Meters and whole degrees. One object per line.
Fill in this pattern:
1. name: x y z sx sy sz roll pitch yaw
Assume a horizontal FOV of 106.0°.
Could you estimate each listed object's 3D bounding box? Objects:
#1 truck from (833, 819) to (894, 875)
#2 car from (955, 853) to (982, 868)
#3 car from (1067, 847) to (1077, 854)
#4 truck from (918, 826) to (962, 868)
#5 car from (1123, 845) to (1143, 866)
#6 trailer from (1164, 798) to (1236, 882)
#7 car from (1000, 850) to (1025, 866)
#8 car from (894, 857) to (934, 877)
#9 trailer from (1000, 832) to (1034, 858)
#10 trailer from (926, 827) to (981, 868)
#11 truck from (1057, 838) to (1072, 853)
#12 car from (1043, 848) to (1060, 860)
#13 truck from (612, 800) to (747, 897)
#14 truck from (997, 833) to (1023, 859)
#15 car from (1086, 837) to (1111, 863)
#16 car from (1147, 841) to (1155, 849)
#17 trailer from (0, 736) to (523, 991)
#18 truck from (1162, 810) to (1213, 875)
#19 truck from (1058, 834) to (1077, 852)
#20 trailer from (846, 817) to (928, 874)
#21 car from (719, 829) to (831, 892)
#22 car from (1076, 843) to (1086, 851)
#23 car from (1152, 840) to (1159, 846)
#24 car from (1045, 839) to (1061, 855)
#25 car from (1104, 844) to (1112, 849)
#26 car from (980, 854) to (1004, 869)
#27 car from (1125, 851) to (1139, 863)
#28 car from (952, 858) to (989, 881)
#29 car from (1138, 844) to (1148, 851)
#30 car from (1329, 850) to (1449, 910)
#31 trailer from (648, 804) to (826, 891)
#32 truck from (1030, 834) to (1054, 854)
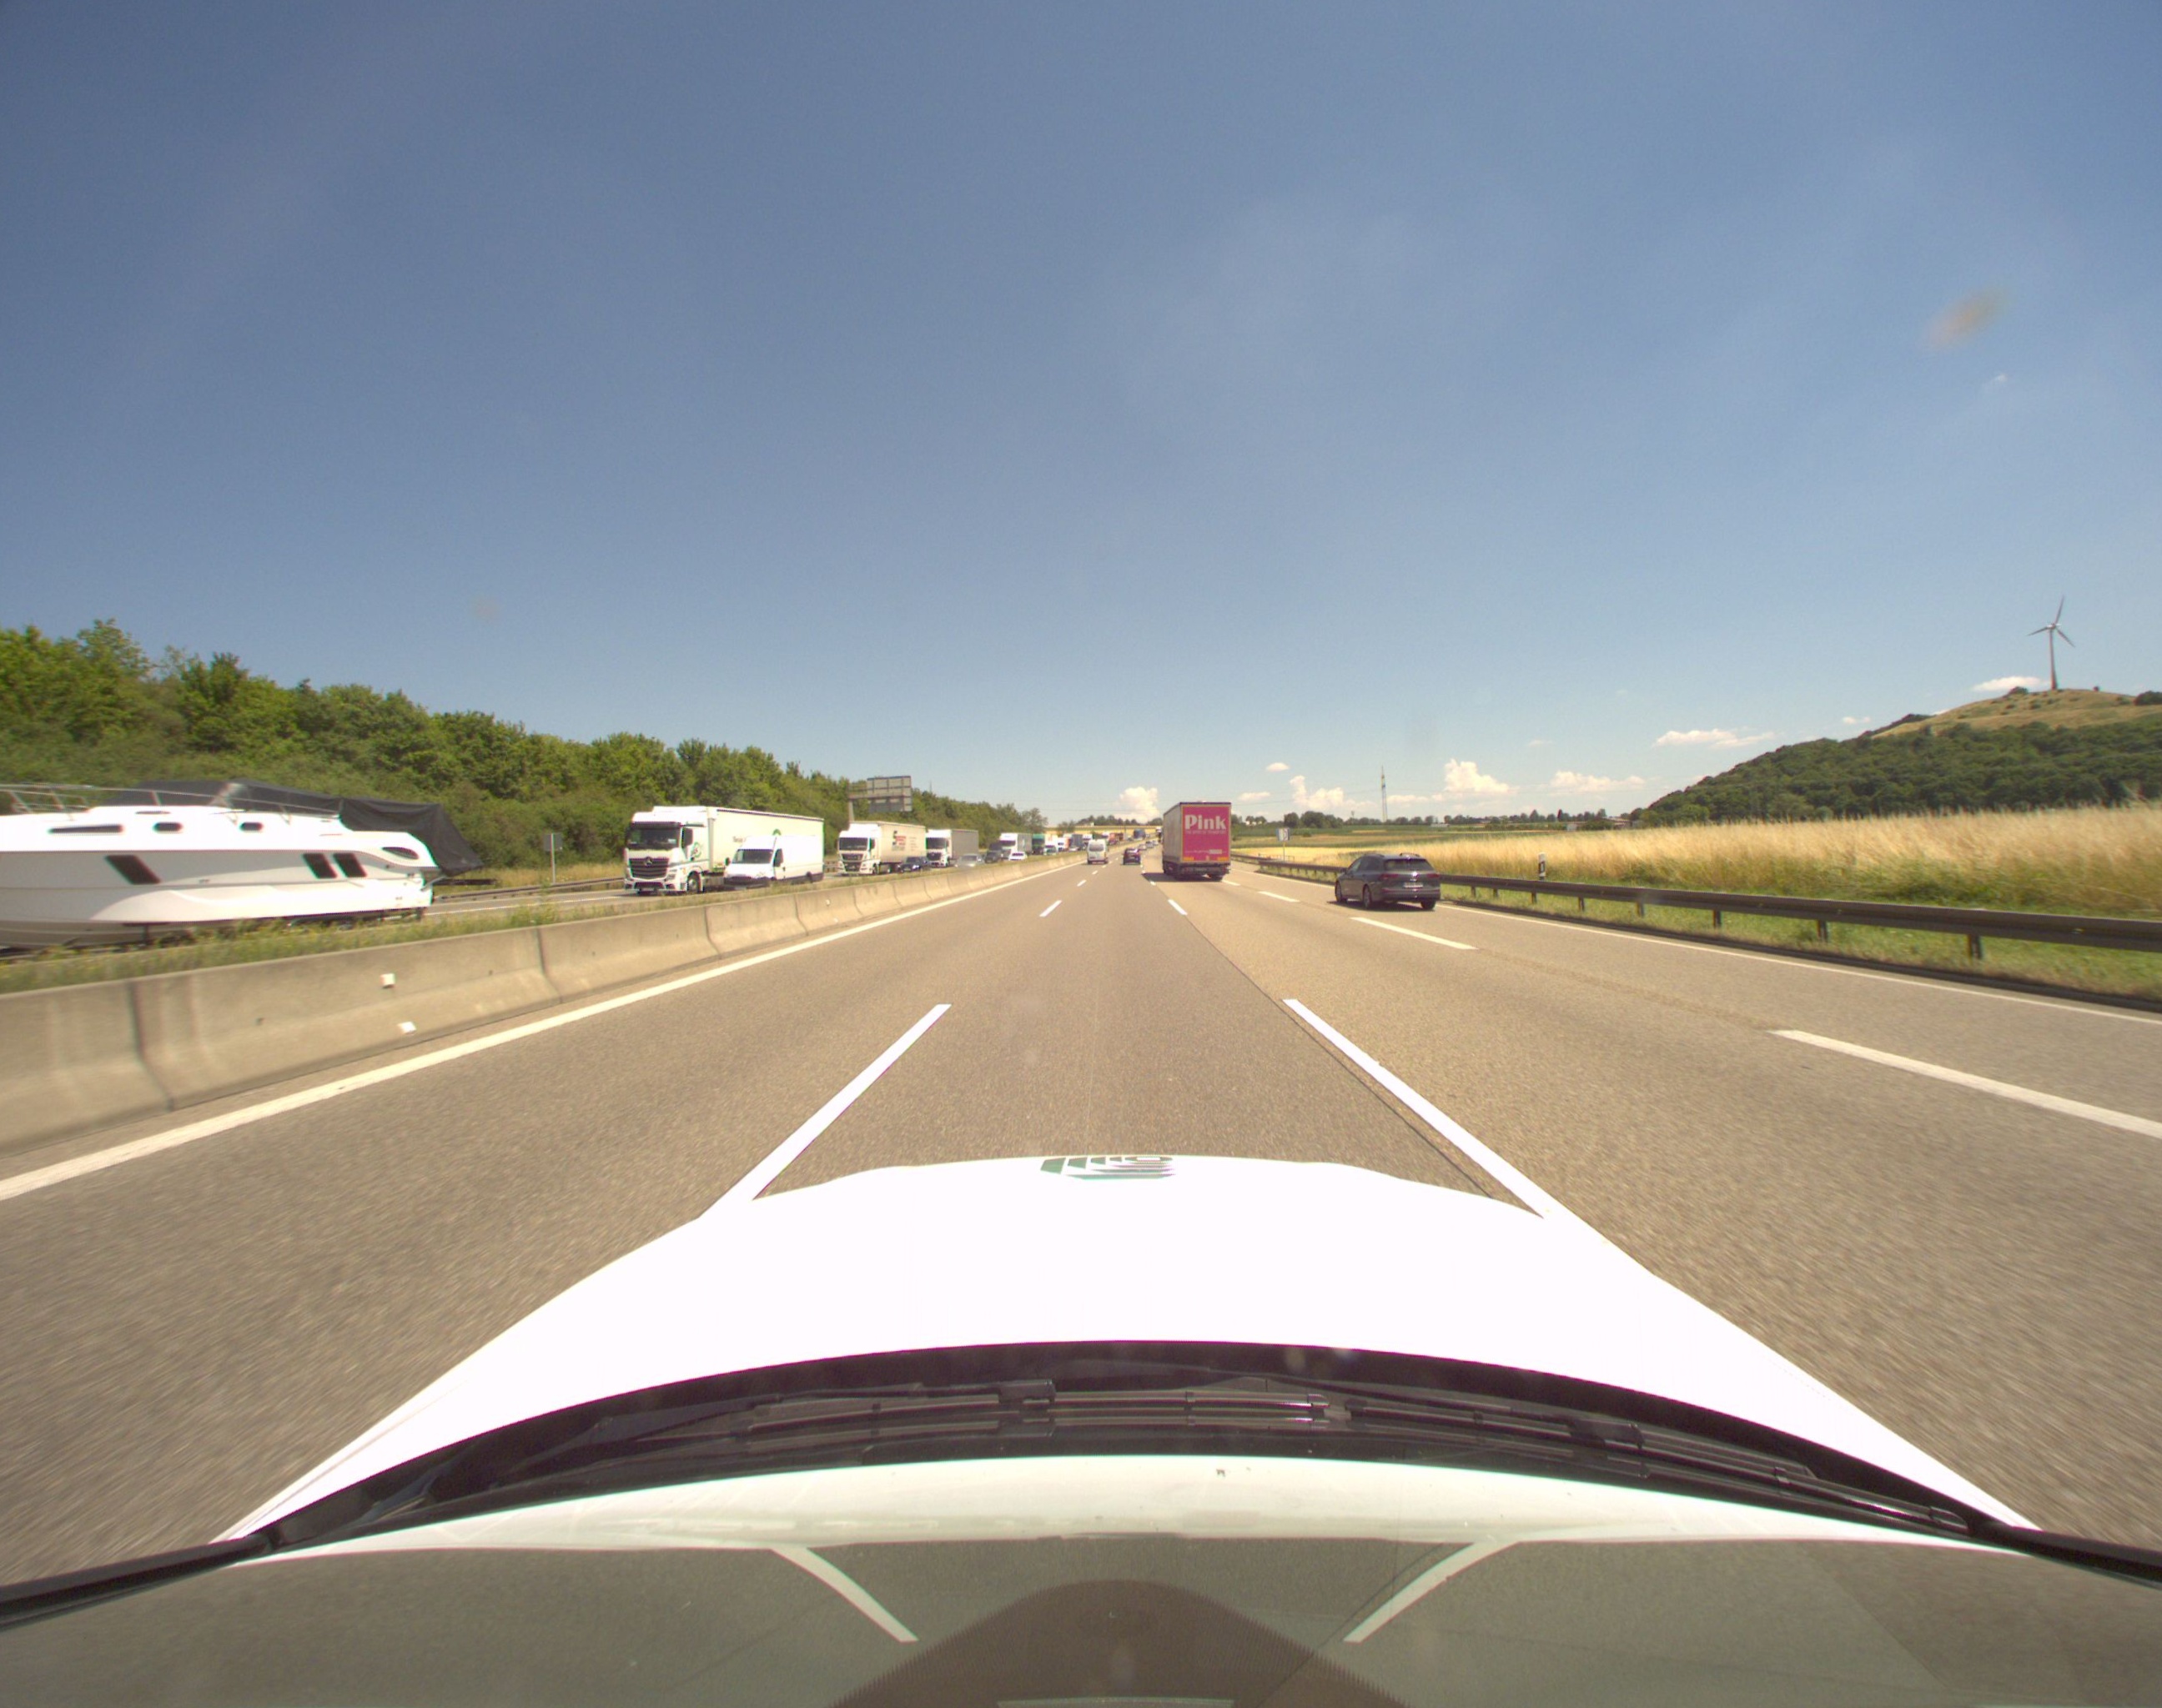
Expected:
1. truck: -16.527 -0.532 62.229 2.744 4.042 6.104 0 0 3
2. car: -11.147 0.652 80.846 1.873 1.474 4.410 -1 -1 3
3. car: -2.038 -0.711 178.960 1.743 1.460 4.865 0 -1 5
4. truck: -14.793 -0.727 86.022 2.948 4.209 6.614 0 0 5
5. car: 5.277 0.160 83.005 1.840 1.860 4.210 -1 3 3
6. trailer: 6.549 -0.776 46.958 2.906 4.117 13.871 0 1 3
7. car: -7.224 0.439 86.306 1.985 1.643 4.409 -1 -1 3
8. car: -12.823 0.970 62.952 1.869 1.434 4.928 0 0 3
9. trailer: -10.549 -1.496 135.951 2.888 4.086 14.471 -1 1 6
10. trailer: -14.223 -0.715 92.629 2.968 4.206 14.210 0 0 4
11. truck: -3.769 -1.983 188.652 2.525 3.207 7.603 -1 1 6
12. car: -4.280 0.023 119.252 1.923 1.688 4.801 -2 0 4
13. truck: -18.075 -0.233 37.138 2.836 4.007 5.980 -1 0 3
14. truck: -11.216 -1.297 129.033 2.839 4.036 6.614 -1 1 5
15. car: 1.870 -0.362 86.328 2.169 2.625 4.680 0 -1 6
16. car: 17.763 -2.291 206.709 1.984 1.904 4.005 -1 -1 5
17. trailer: -14.950 0.174 14.309 2.860 3.183 10.728 0 -1 0
18. truck: 6.966 -0.766 54.146 2.904 4.008 6.517 0 1 3
19. truck: -3.168 -2.865 201.636 2.984 4.233 10.759 -1 1 8
20. trailer: -16.077 -0.721 68.876 2.799 4.278 13.882 0 0 4
21. car: -13.917 0.276 37.706 1.889 2.574 7.578 -1 0 3
22. car: -0.062 -1.636 193.629 1.852 1.641 5.121 -1 -1 5
23. car: 21.974 -3.285 240.498 1.982 1.551 4.011 0 3 8
24. car: -5.089 -1.188 149.992 2.129 2.786 6.633 0 -1 5
25. car: 8.617 -2.520 257.731 1.983 1.527 4.783 0 1 7
26. car: -10.342 0.839 95.033 1.985 1.715 4.796 -1 0 3
27. car: 7.677 0.436 121.798 1.985 1.750 4.004 0 -1 4
28. car: -8.497 1.168 62.944 1.985 1.578 4.598 -1 0 3
29. car: 13.898 -1.414 182.358 1.984 1.585 4.006 -2 0 5
30. car: 8.306 0.664 22.414 1.754 1.471 4.539 0 -1 3
31. trailer: -17.716 -0.313 43.742 2.891 3.873 13.889 -1 0 3
32. truck: -7.712 -2.080 162.802 2.828 3.898 11.269 -2 1 7
